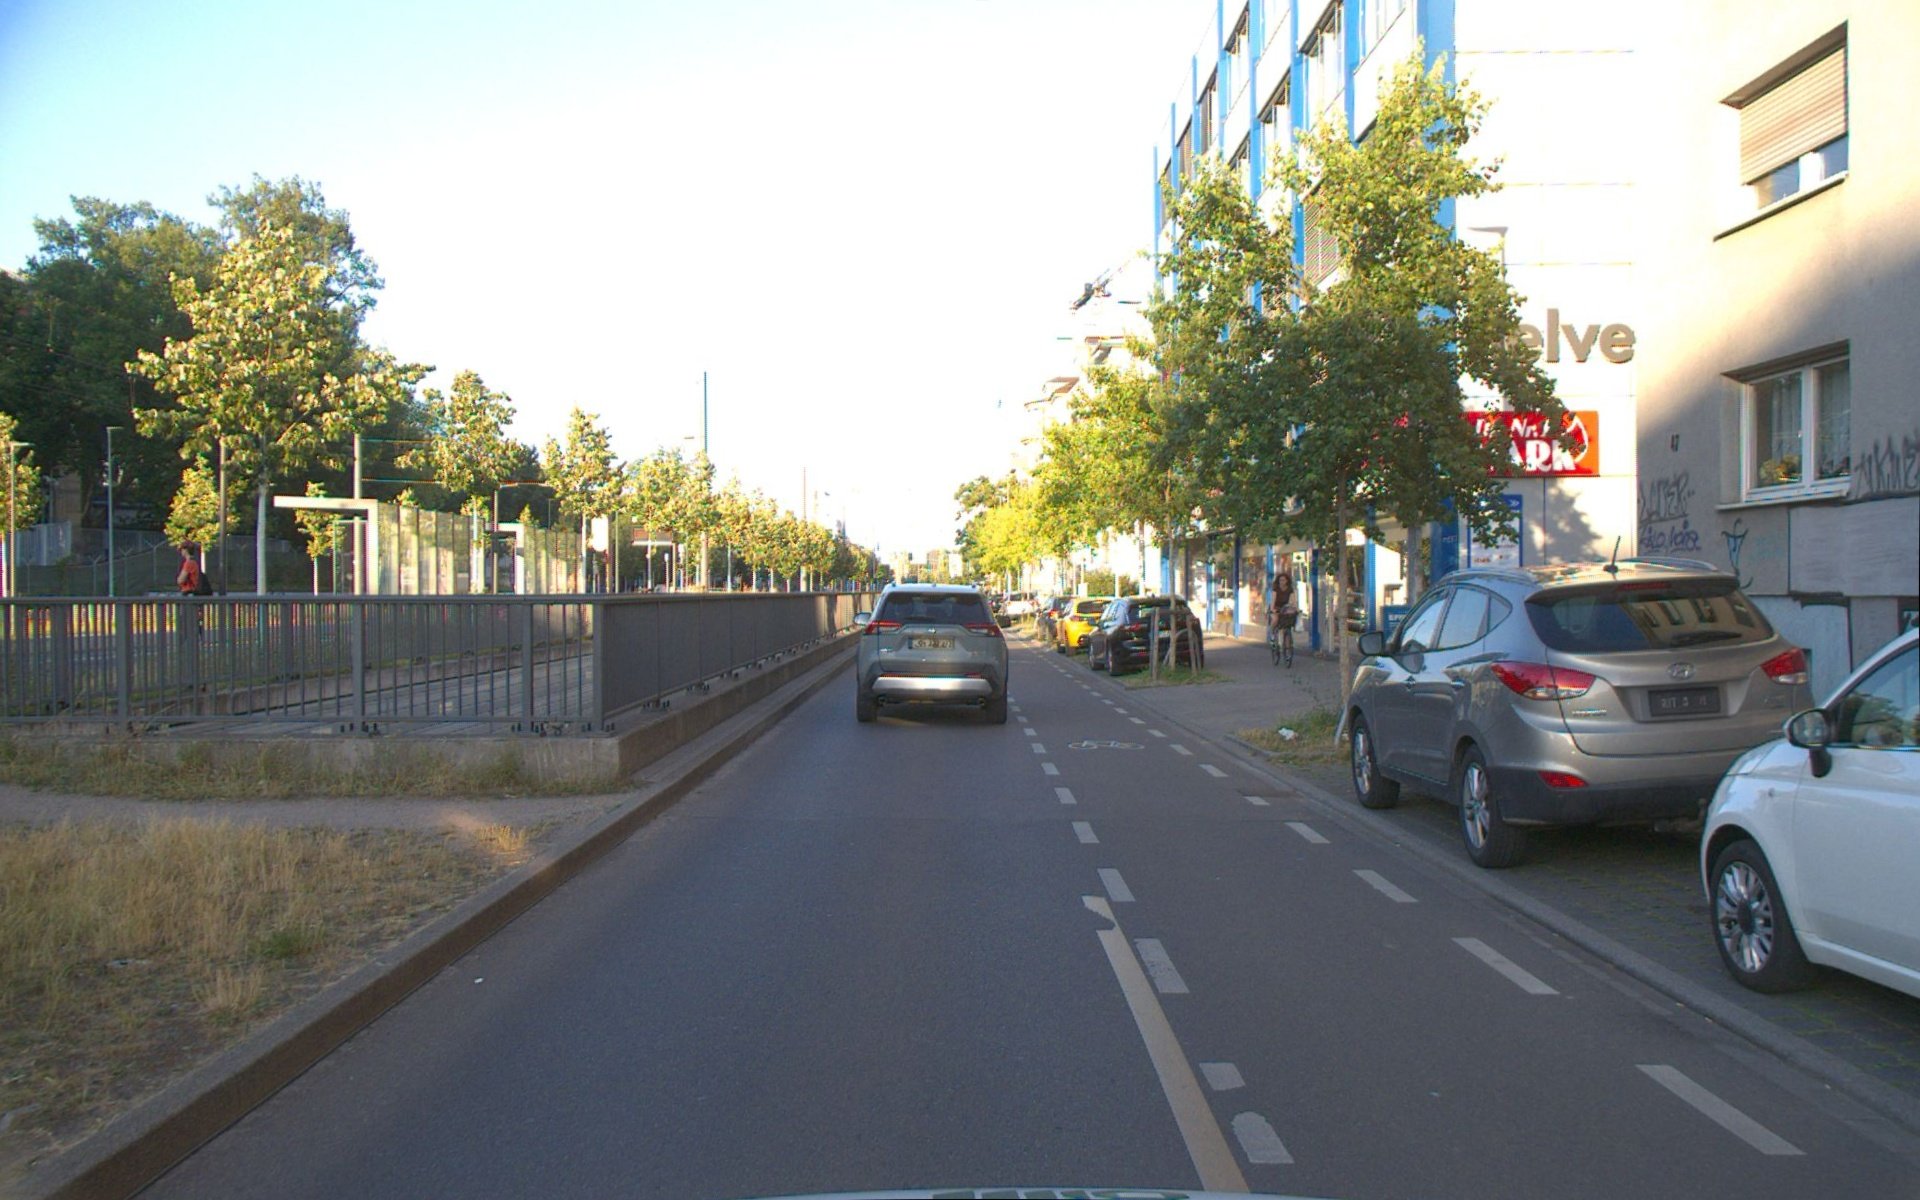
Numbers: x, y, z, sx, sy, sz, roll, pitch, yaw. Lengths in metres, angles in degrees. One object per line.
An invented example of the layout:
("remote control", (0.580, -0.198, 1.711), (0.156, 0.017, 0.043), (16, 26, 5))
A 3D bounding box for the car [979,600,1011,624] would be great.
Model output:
("car", (2.345, 0.814, 111.977), (1.757, 1.496, 4.442), (-3, 0, -4))

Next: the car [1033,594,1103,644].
("car", (3.424, 0.589, 53.178), (1.783, 1.480, 4.126), (-1, 0, -3))

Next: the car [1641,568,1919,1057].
("car", (3.895, 0.659, 5.416), (1.636, 1.544, 3.599), (-4, 0, -3))

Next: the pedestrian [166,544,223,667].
("pedestrian", (-11.162, 0.078, 24.136), (0.623, 1.759, 0.634), (-1, 0, -13))

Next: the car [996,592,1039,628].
("car", (2.851, 0.469, 82.584), (1.817, 1.736, 4.252), (0, 0, -3))

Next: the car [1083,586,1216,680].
("car", (3.657, 0.608, 32.740), (1.783, 1.594, 4.808), (-4, 0, -3))

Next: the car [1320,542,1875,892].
("car", (3.720, 0.584, 10.635), (1.721, 1.683, 4.528), (-3, 0, -1))

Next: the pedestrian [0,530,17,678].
("pedestrian", (-11.872, 0.047, 19.912), (0.711, 1.775, 0.635), (0, 0, -9))

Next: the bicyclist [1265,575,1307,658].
("bicyclist", (6.089, 0.300, 30.916), (0.547, 1.501, 0.622), (-3, 0, -3))

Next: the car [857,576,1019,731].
("car", (-0.341, 0.622, 21.175), (1.820, 1.744, 4.190), (1, 0, -3))

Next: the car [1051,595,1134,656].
("car", (3.406, 0.644, 43.185), (1.650, 1.480, 4.127), (-1, 0, -3))

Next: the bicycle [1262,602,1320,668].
("bicycle", (6.169, 0.640, 30.904), (0.543, 1.149, 1.973), (-3, 0, -3))
